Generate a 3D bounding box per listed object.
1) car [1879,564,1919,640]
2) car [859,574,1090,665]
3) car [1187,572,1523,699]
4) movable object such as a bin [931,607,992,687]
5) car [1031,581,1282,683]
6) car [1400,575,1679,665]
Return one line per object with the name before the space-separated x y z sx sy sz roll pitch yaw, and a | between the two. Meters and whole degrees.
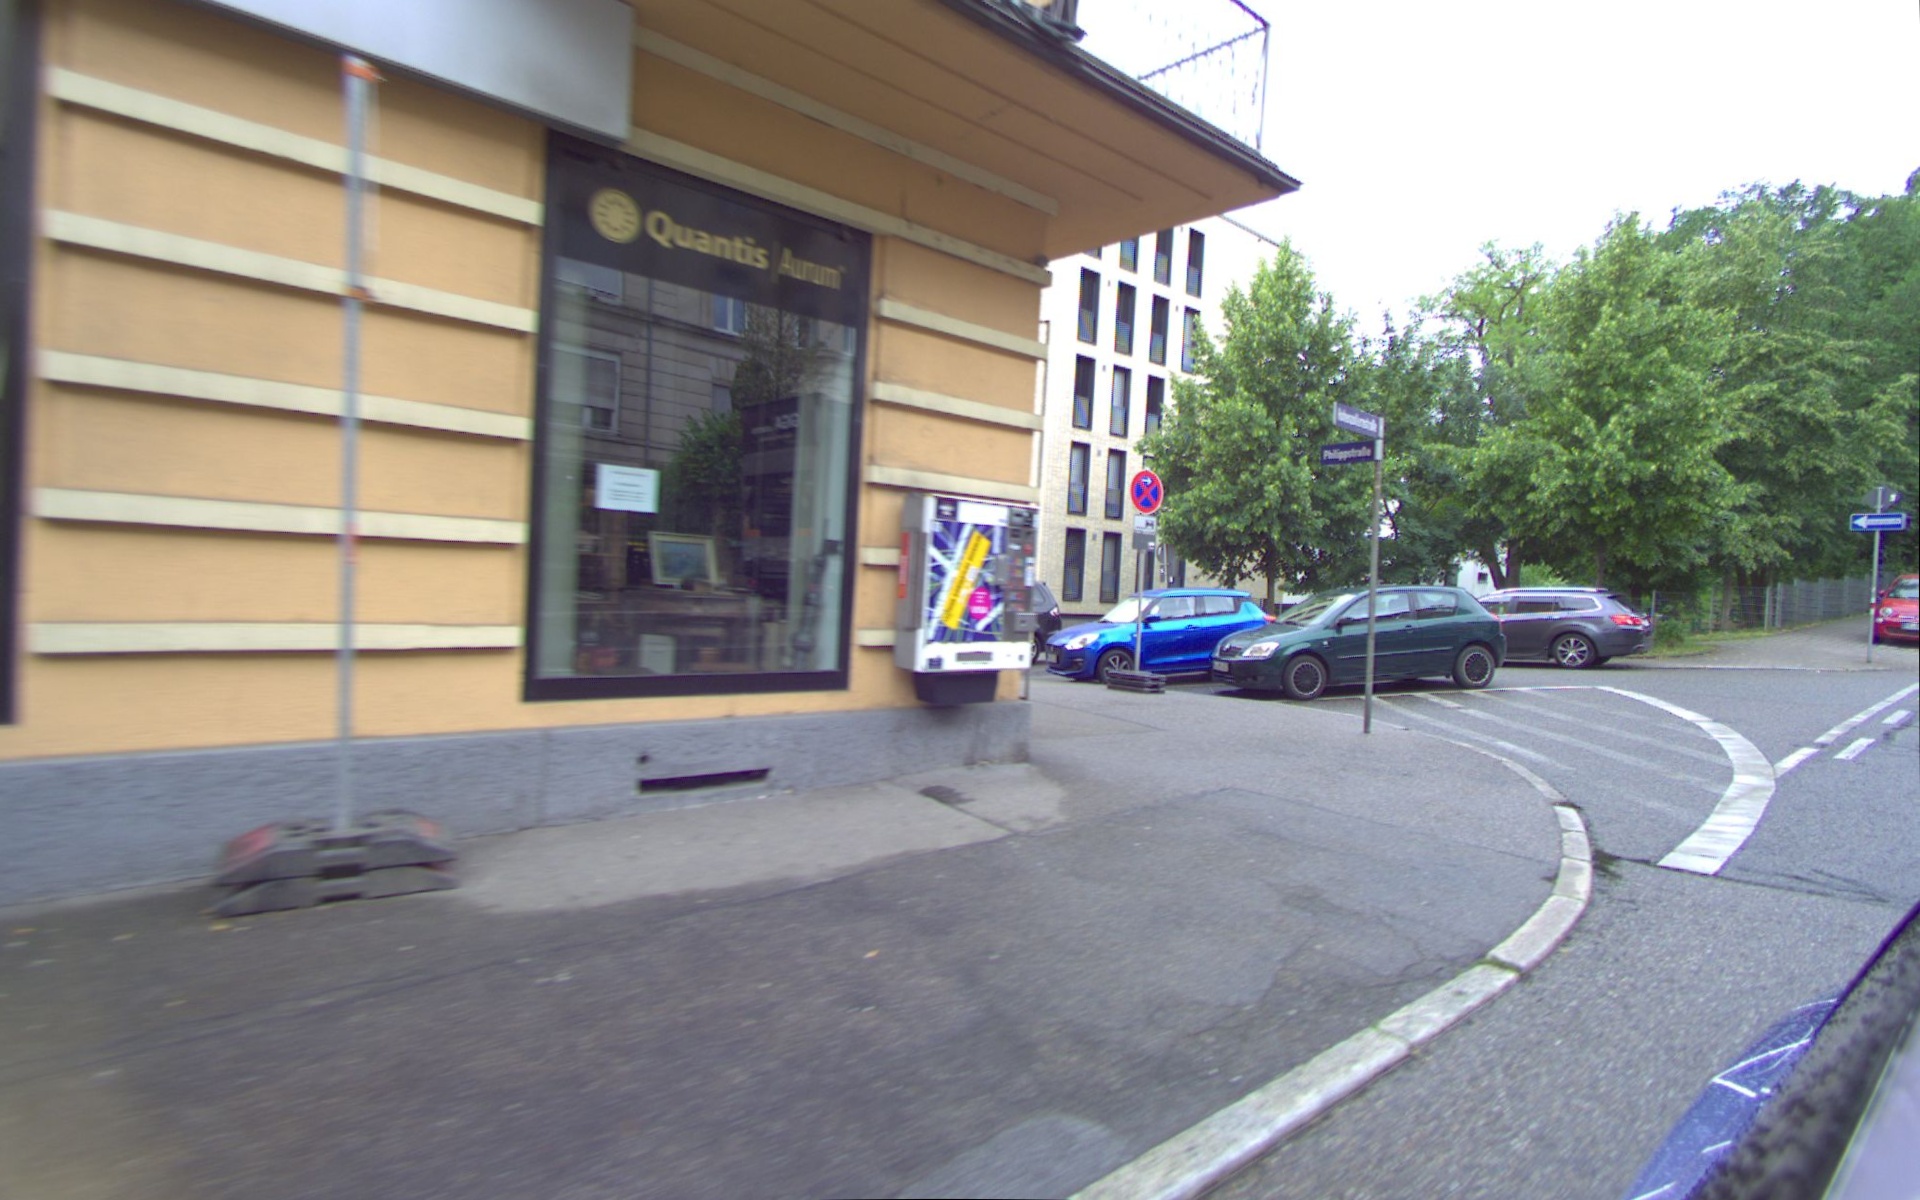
car | 21.402 0.025 21.978 3.889 1.519 1.613 -2 5 -41
car | 0.283 0.366 20.867 4.444 1.746 1.712 0 1 -17
car | 5.538 0.438 14.430 4.026 1.487 1.858 -3 1 -9
movable object such as a bin | 0.021 0.579 12.619 0.504 0.942 0.506 2 2 -40
car | 3.124 0.470 16.334 3.560 1.511 1.712 0 1 -14
car | 10.921 0.351 19.284 1.970 1.517 4.269 1 -1 -45
